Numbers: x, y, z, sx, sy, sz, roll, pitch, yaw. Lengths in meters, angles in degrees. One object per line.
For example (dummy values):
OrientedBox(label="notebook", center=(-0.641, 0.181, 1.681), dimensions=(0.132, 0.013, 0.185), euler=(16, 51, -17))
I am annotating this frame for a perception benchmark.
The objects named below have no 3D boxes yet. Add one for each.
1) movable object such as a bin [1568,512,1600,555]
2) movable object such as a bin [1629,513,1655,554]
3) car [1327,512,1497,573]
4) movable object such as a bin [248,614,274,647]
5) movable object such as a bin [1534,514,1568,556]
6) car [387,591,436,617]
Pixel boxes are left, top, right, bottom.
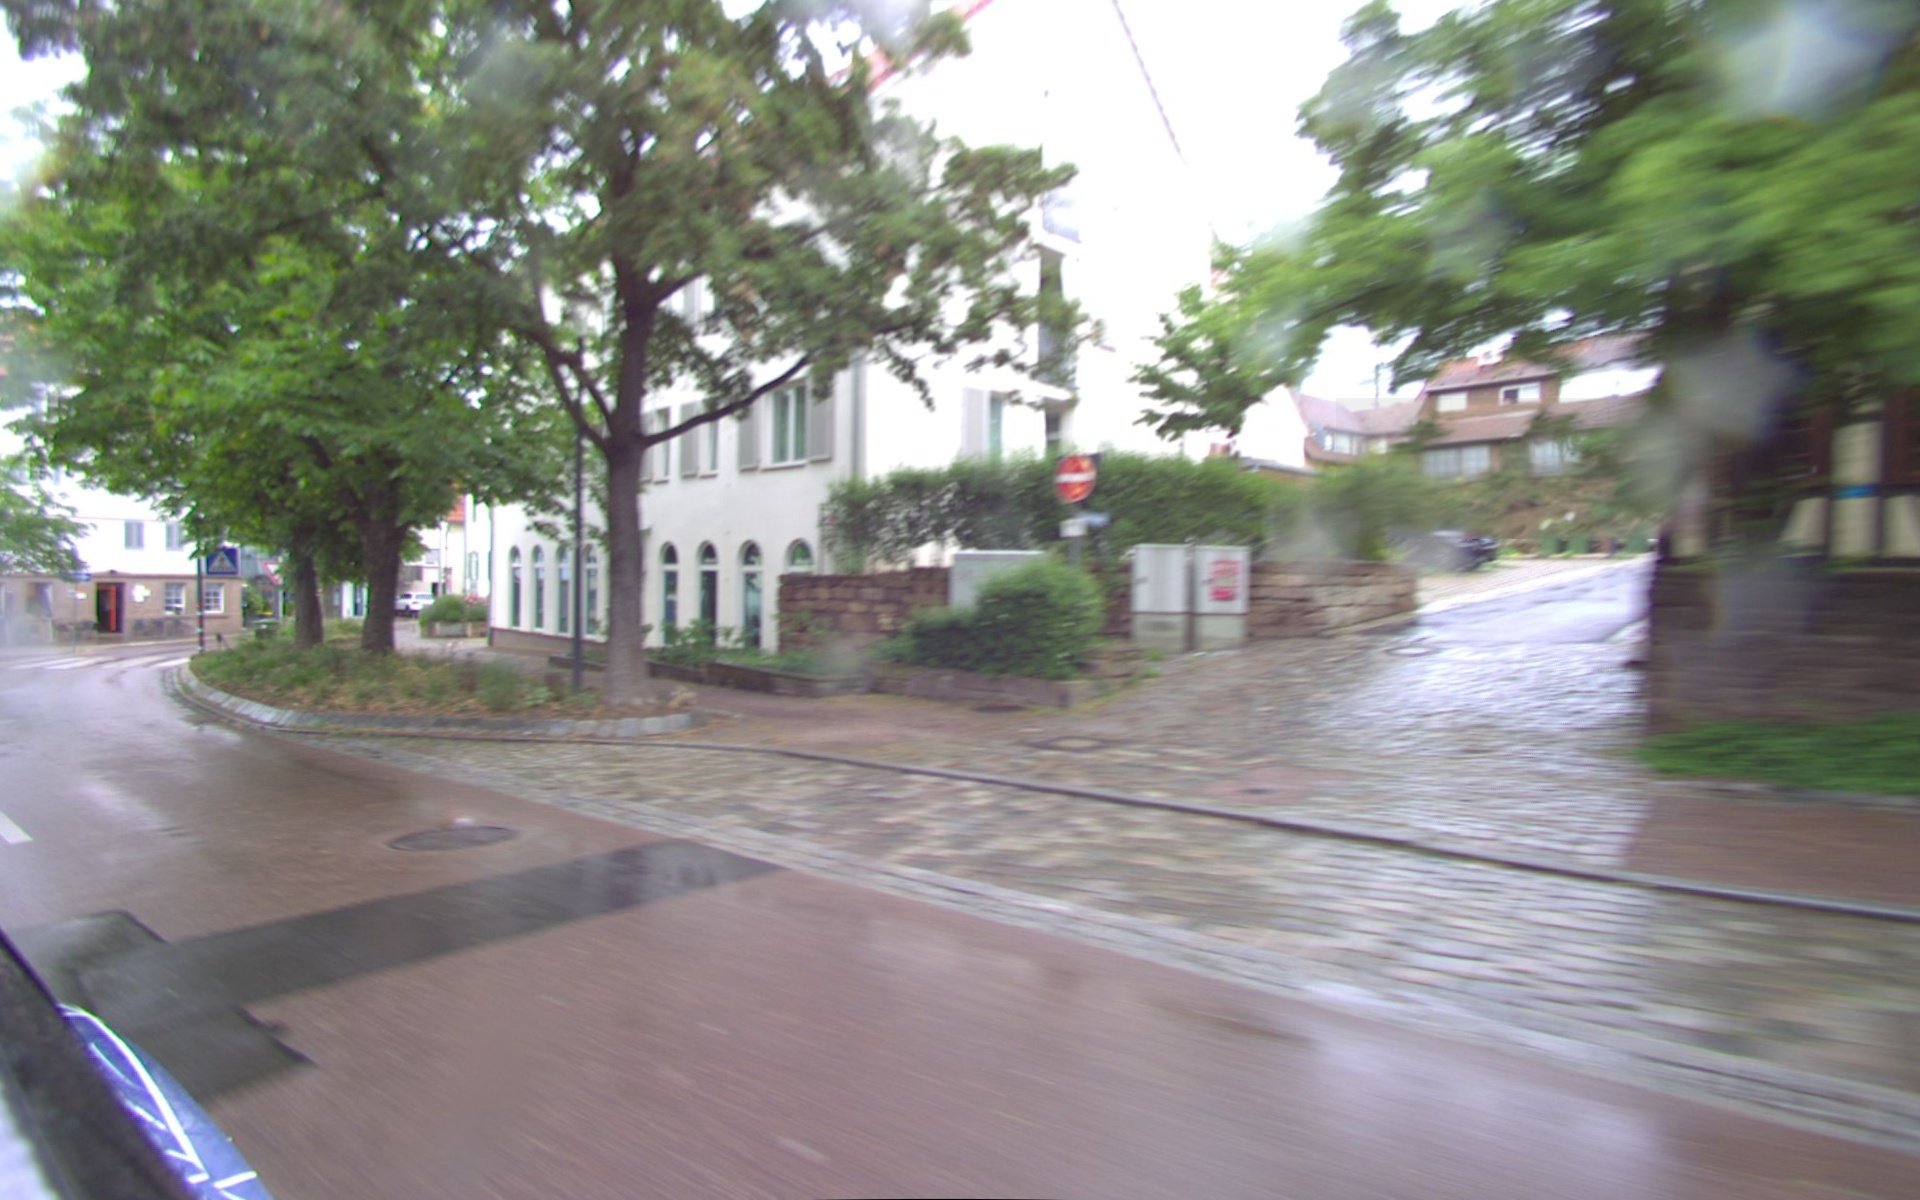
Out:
OrientedBox(label="movable object such as a bin", center=(17.174, -1.820, 27.844), dimensions=(0.644, 1.139, 0.679), euler=(1, -1, 41))
OrientedBox(label="movable object such as a bin", center=(18.072, -1.756, 26.815), dimensions=(0.496, 1.034, 0.679), euler=(1, -1, 41))
OrientedBox(label="car", center=(11.066, -1.406, 24.826), dimensions=(3.630, 1.353, 1.600), euler=(1, 6, 32))
OrientedBox(label="movable object such as a bin", center=(-22.730, 0.984, 32.911), dimensions=(0.625, 1.067, 0.700), euler=(1, -1, -29))
OrientedBox(label="movable object such as a bin", center=(16.636, -1.824, 28.491), dimensions=(0.711, 1.115, 0.679), euler=(1, -1, 41))
OrientedBox(label="car", center=(-36.808, 0.265, 67.843), dimensions=(3.891, 1.634, 1.804), euler=(1, -1, 44))
